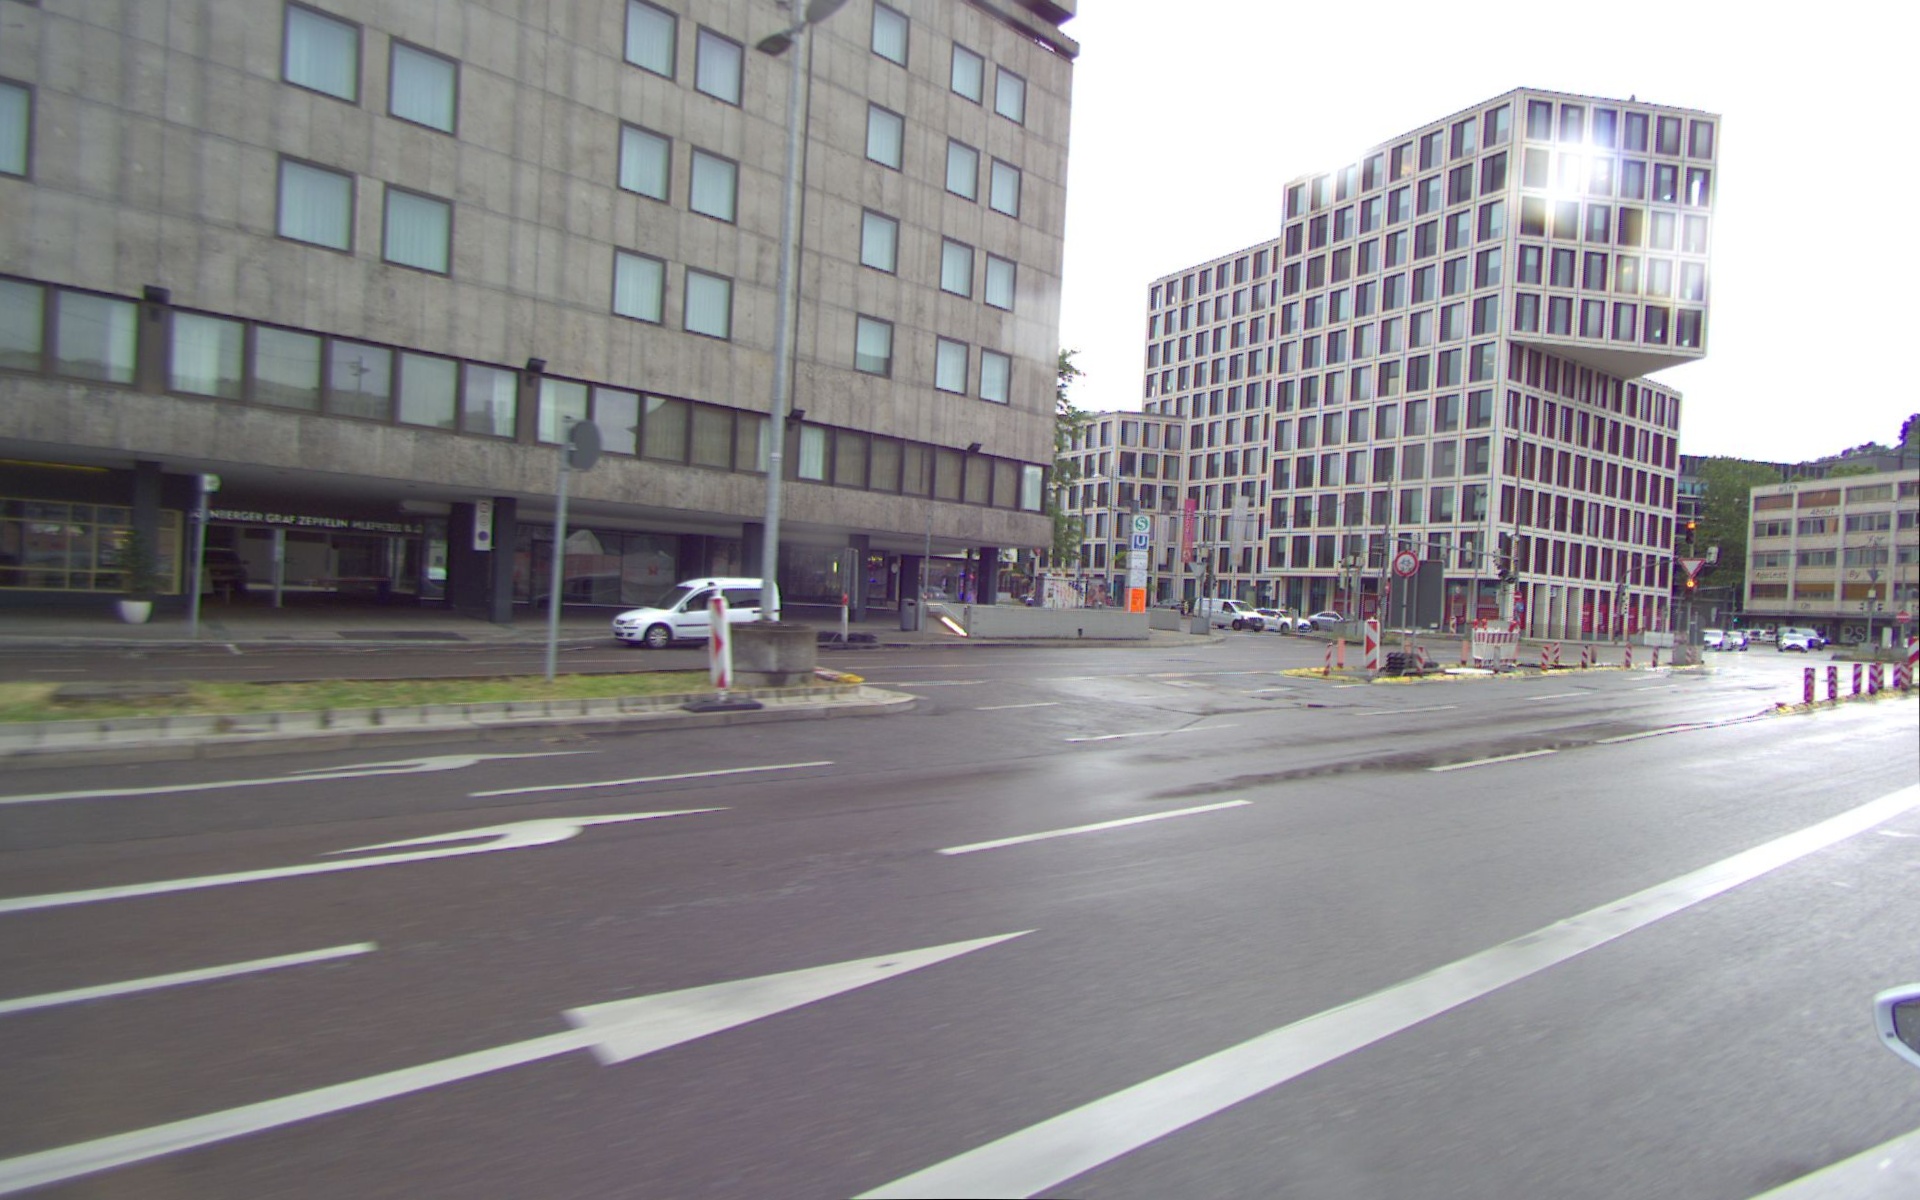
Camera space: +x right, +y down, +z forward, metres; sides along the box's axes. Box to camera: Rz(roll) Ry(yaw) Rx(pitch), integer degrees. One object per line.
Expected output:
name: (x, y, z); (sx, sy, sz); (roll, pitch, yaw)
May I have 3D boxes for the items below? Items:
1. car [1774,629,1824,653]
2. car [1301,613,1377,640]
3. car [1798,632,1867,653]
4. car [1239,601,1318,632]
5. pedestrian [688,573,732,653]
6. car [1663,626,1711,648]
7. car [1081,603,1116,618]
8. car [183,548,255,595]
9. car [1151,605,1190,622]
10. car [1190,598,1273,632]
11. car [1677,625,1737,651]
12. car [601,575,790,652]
car: (66.545, 3.261, 79.677); (3.954, 1.840, 1.791); (2, 1, -31)
car: (25.445, 1.752, 67.602); (1.992, 1.619, 4.631); (2, 0, -27)
car: (73.970, 3.586, 85.204); (1.861, 1.578, 3.983); (2, -1, -19)
car: (20.255, 1.035, 64.023); (1.996, 1.761, 4.623); (2, 0, -31)
pedestrian: (-6.118, 0.308, 24.597); (0.789, 1.911, 0.685); (1, 1, -40)
car: (68.627, 3.454, 94.864); (1.769, 1.840, 4.001); (2, 1, 4)
car: (15.590, 1.212, 113.364); (1.845, 1.543, 3.970); (2, 0, -28)
car: (-30.719, -1.182, 41.644); (2.248, 1.751, 4.825); (2, 0, -37)
car: (21.686, 1.399, 103.404); (1.843, 1.543, 3.973); (2, 0, -26)
car: (16.977, 0.906, 63.072); (2.062, 1.930, 5.046); (2, 0, -29)
car: (54.670, 2.799, 73.484); (4.768, 1.776, 2.206); (3, 0, -37)
car: (-6.714, 0.359, 25.752); (4.336, 1.786, 1.759); (2, 0, -40)
